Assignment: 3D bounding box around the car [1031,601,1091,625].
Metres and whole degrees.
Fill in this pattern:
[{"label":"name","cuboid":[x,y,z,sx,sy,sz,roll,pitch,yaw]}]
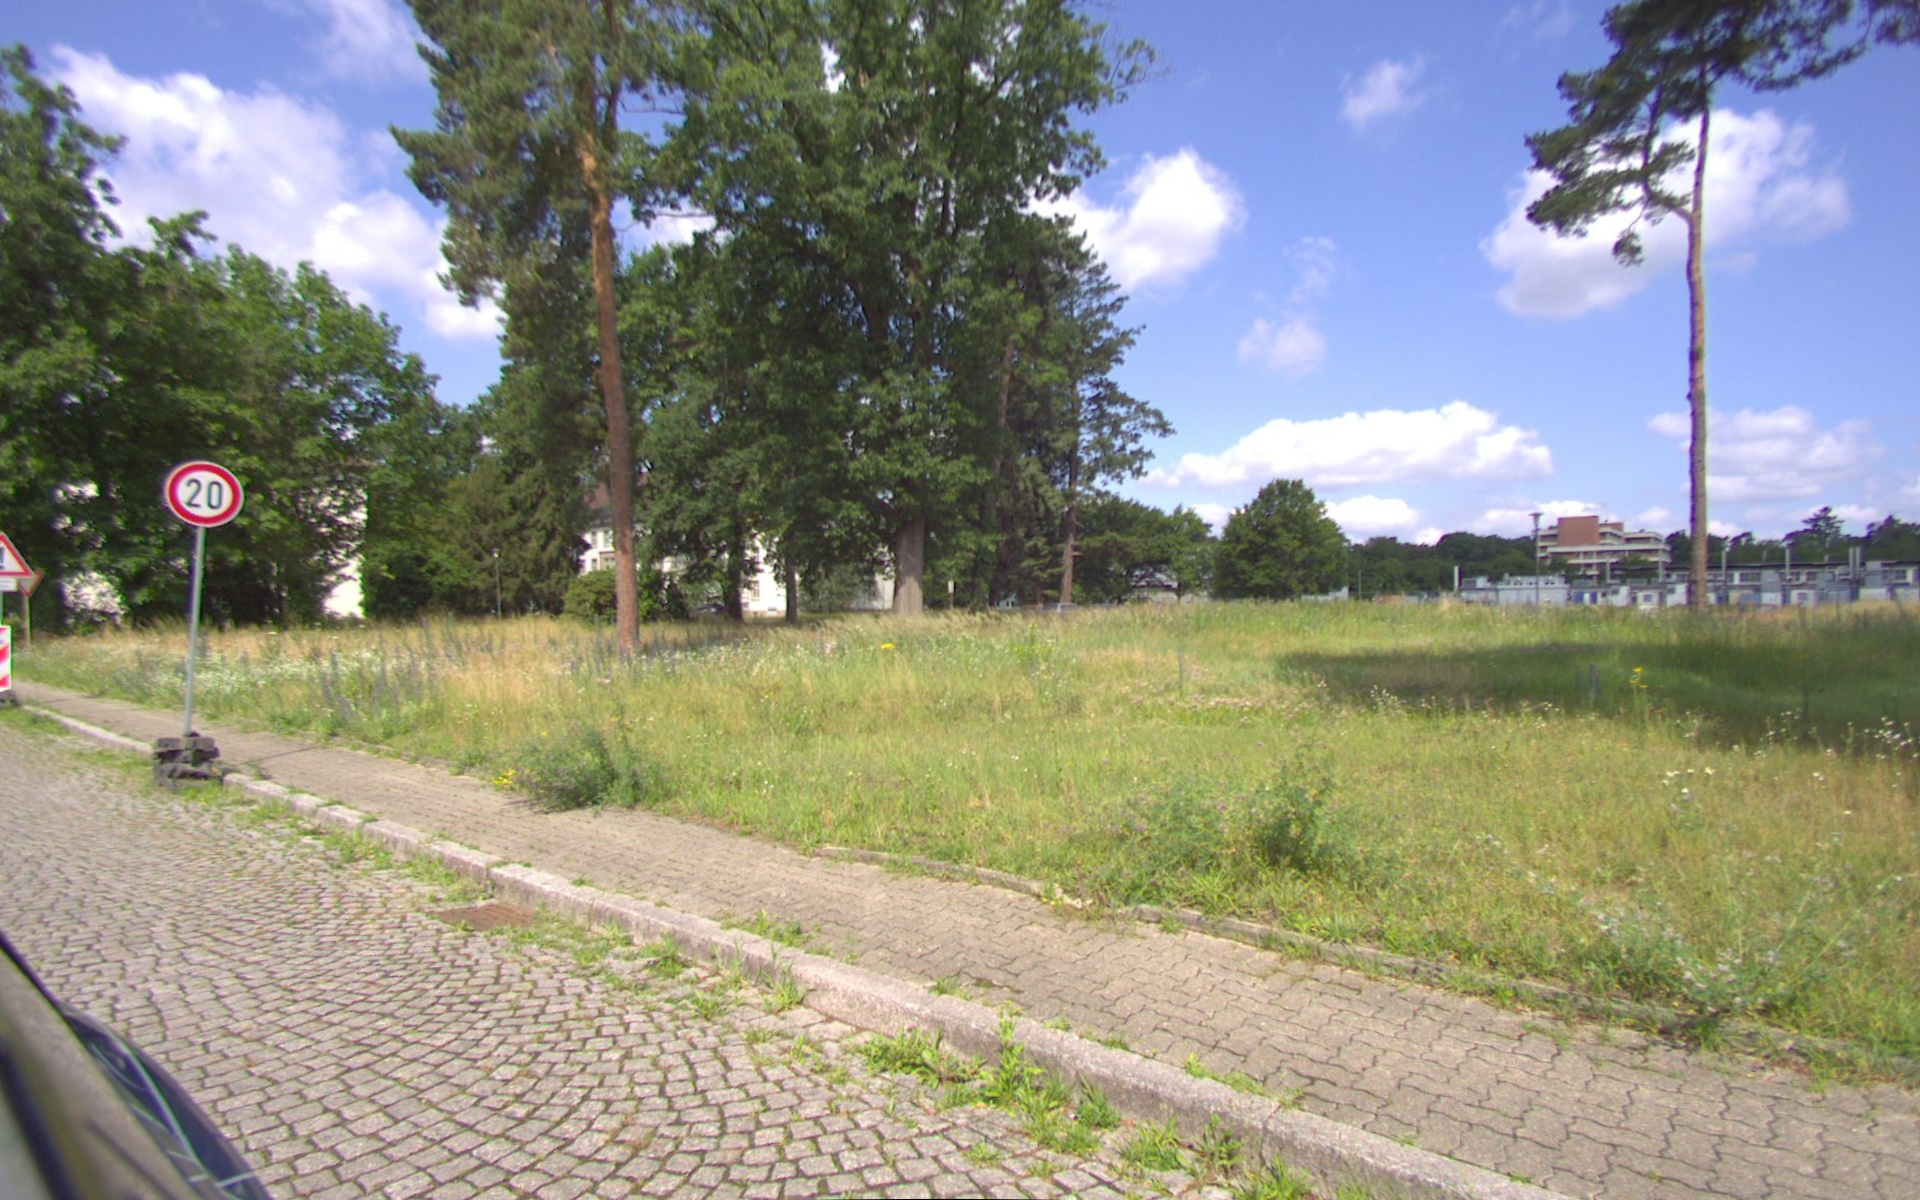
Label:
[{"label":"car","cuboid":[6.325,0.799,63.077,1.898,1.423,4.018,-1,-1,38]}]
